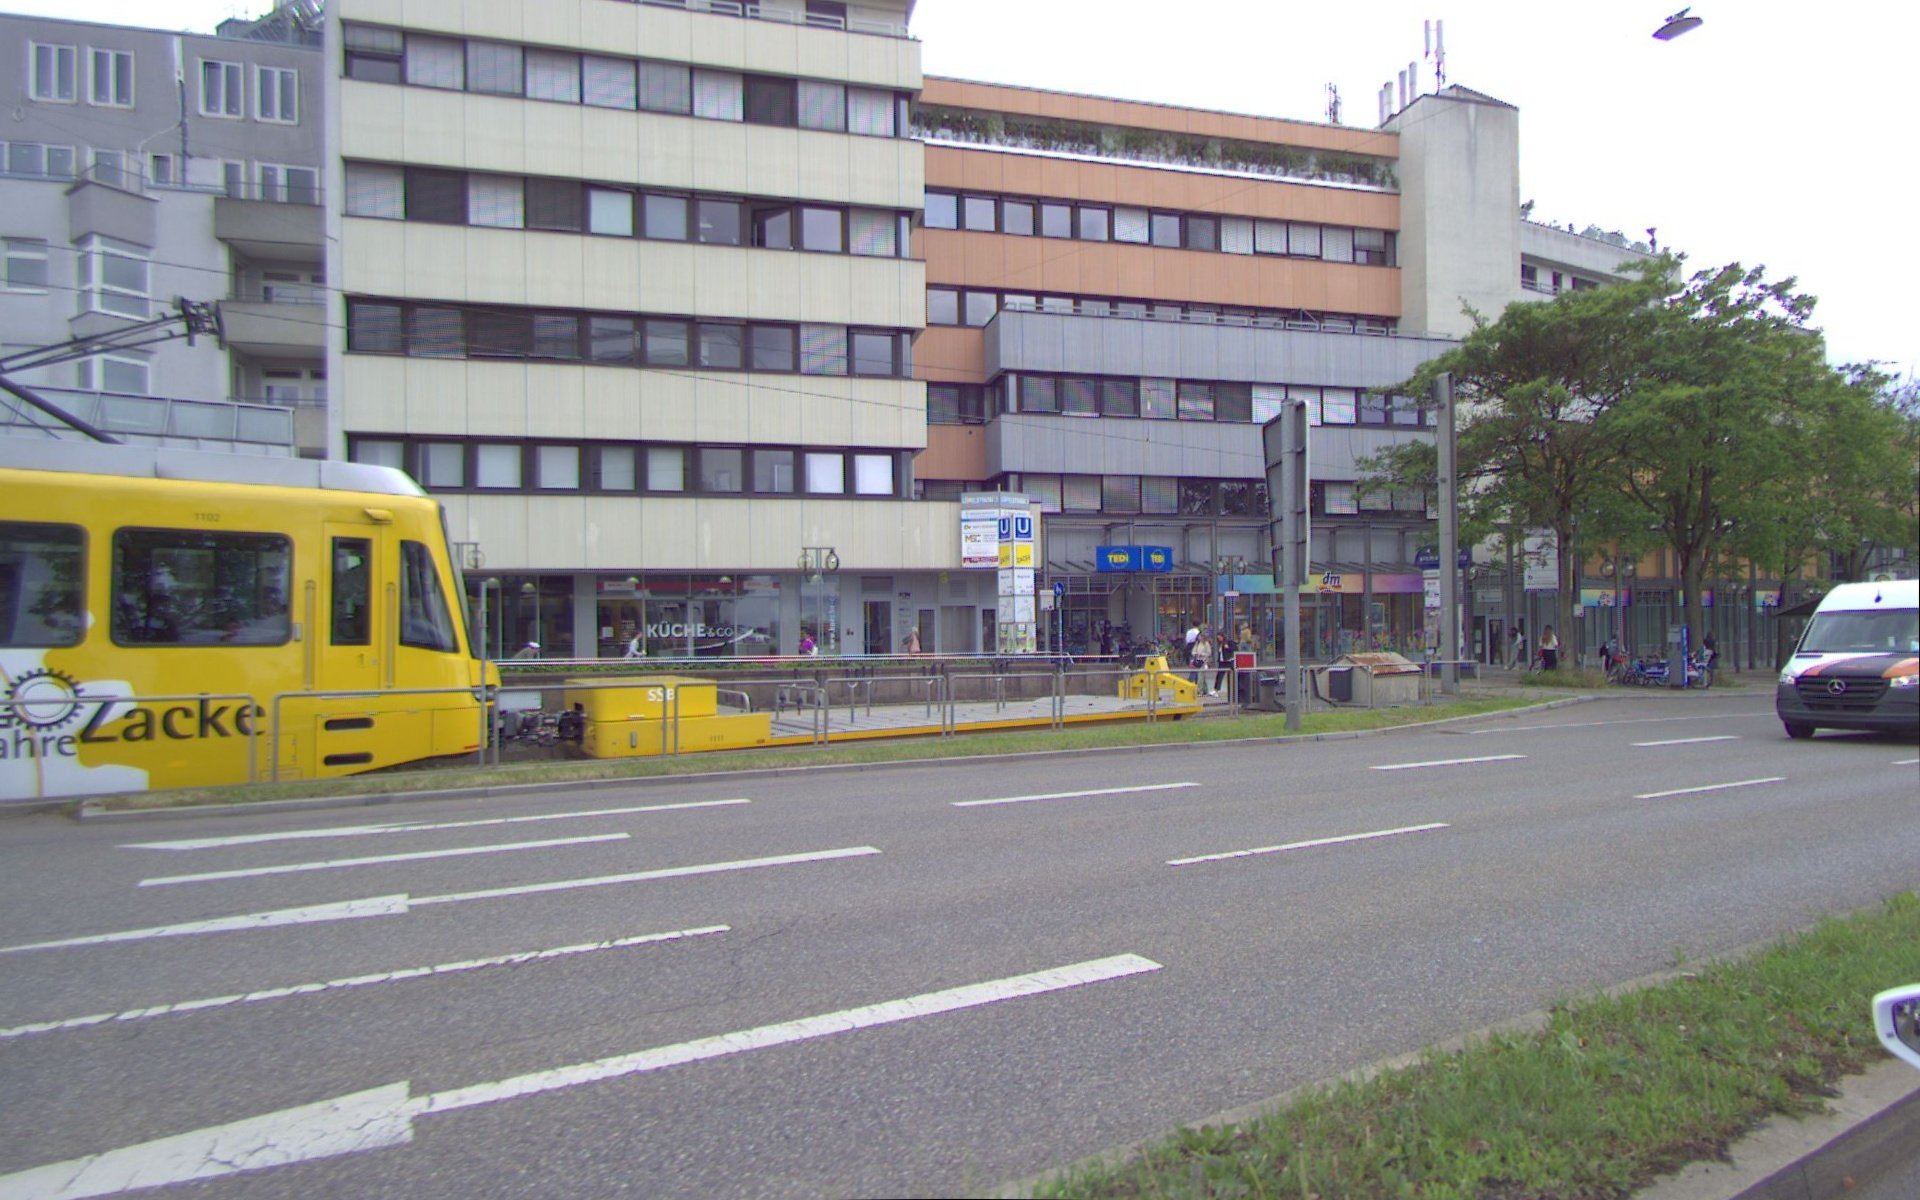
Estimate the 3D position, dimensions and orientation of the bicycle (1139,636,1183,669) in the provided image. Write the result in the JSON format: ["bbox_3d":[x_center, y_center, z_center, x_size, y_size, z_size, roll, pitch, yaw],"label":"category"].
[{"bbox_3d":[7.413,1.935,37.155,0.664,1.176,2.009,1,-2,-20],"label":"bicycle"}]

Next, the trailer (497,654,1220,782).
[{"bbox_3d":[-0.885,1.653,16.550,12.000,1.350,2.824,1,-2,-34],"label":"trailer"}]

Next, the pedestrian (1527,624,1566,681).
[{"bbox_3d":[18.439,1.646,31.586,0.698,1.735,0.772,1,0,-27],"label":"pedestrian"}]

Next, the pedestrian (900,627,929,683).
[{"bbox_3d":[-1.443,1.731,31.819,0.660,1.723,0.682,1,-2,-30],"label":"pedestrian"}]

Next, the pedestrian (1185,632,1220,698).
[{"bbox_3d":[5.997,1.590,24.837,0.613,1.594,0.596,1,-2,-32],"label":"pedestrian"}]

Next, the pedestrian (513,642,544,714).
[{"bbox_3d":[-10.582,1.896,24.625,0.621,1.723,0.546,1,-2,-31],"label":"pedestrian"}]

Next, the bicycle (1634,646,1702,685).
[{"bbox_3d":[22.344,2.061,31.722,1.655,1.176,0.605,0,-2,10],"label":"bicycle"}]

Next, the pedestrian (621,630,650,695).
[{"bbox_3d":[-8.717,1.669,27.012,0.621,1.723,0.546,1,-2,-31],"label":"pedestrian"}]

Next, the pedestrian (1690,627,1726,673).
[{"bbox_3d":[29.183,1.963,39.219,0.772,1.739,0.775,1,0,-4],"label":"pedestrian"}]

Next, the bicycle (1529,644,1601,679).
[{"bbox_3d":[20.588,2.079,34.221,1.978,1.176,0.674,-1,-2,18],"label":"bicycle"}]

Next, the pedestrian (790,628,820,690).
[{"bbox_3d":[-4.436,1.680,28.721,0.730,1.723,0.618,1,-2,-18],"label":"pedestrian"}]

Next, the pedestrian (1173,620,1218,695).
[{"bbox_3d":[6.086,1.474,25.948,0.863,1.902,0.741,1,-2,-30],"label":"pedestrian"}]

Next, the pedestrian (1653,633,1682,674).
[{"bbox_3d":[30.923,2.334,43.904,0.780,1.739,0.766,1,0,-30],"label":"pedestrian"}]

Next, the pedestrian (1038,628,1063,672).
[{"bbox_3d":[3.662,2.040,40.795,0.698,1.739,0.700,1,0,-30],"label":"pedestrian"}]

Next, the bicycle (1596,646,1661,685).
[{"bbox_3d":[20.932,2.044,31.445,1.934,1.176,0.602,1,-2,-18],"label":"bicycle"}]

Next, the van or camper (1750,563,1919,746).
[{"bbox_3d":[15.955,0.895,16.849,6.041,2.632,1.986,1,-4,-29],"label":"van or camper"}]

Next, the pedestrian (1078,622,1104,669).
[{"bbox_3d":[4.842,1.671,37.021,0.627,1.720,0.700,1,0,-30],"label":"pedestrian"}]

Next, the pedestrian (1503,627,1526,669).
[{"bbox_3d":[22.081,1.915,40.024,0.610,1.621,0.635,1,0,10],"label":"pedestrian"}]

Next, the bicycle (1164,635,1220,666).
[{"bbox_3d":[8.756,1.897,37.897,1.987,1.176,0.671,1,-2,-18],"label":"bicycle"}]

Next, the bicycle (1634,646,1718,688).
[{"bbox_3d":[21.204,1.977,29.783,1.925,1.177,0.605,1,1,11],"label":"bicycle"}]

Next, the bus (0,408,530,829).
[{"bbox_3d":[-14.085,0.129,8.149,19.140,3.910,3.854,1,-2,-34],"label":"bus"}]

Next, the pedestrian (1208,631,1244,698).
[{"bbox_3d":[6.453,1.557,24.395,0.613,1.594,0.596,1,-2,-32],"label":"pedestrian"}]

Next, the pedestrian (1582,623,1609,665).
[{"bbox_3d":[25.052,1.724,39.611,0.614,1.621,0.630,1,0,-25],"label":"pedestrian"}]

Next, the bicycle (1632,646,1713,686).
[{"bbox_3d":[21.647,2.005,30.544,1.925,1.176,0.605,0,-2,10],"label":"bicycle"}]

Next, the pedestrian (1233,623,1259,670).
[{"bbox_3d":[10.642,1.737,37.360,0.660,1.723,0.647,1,-2,-30],"label":"pedestrian"}]

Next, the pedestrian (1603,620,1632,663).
[{"bbox_3d":[25.405,1.608,38.805,0.698,1.605,0.663,1,0,-27],"label":"pedestrian"}]
